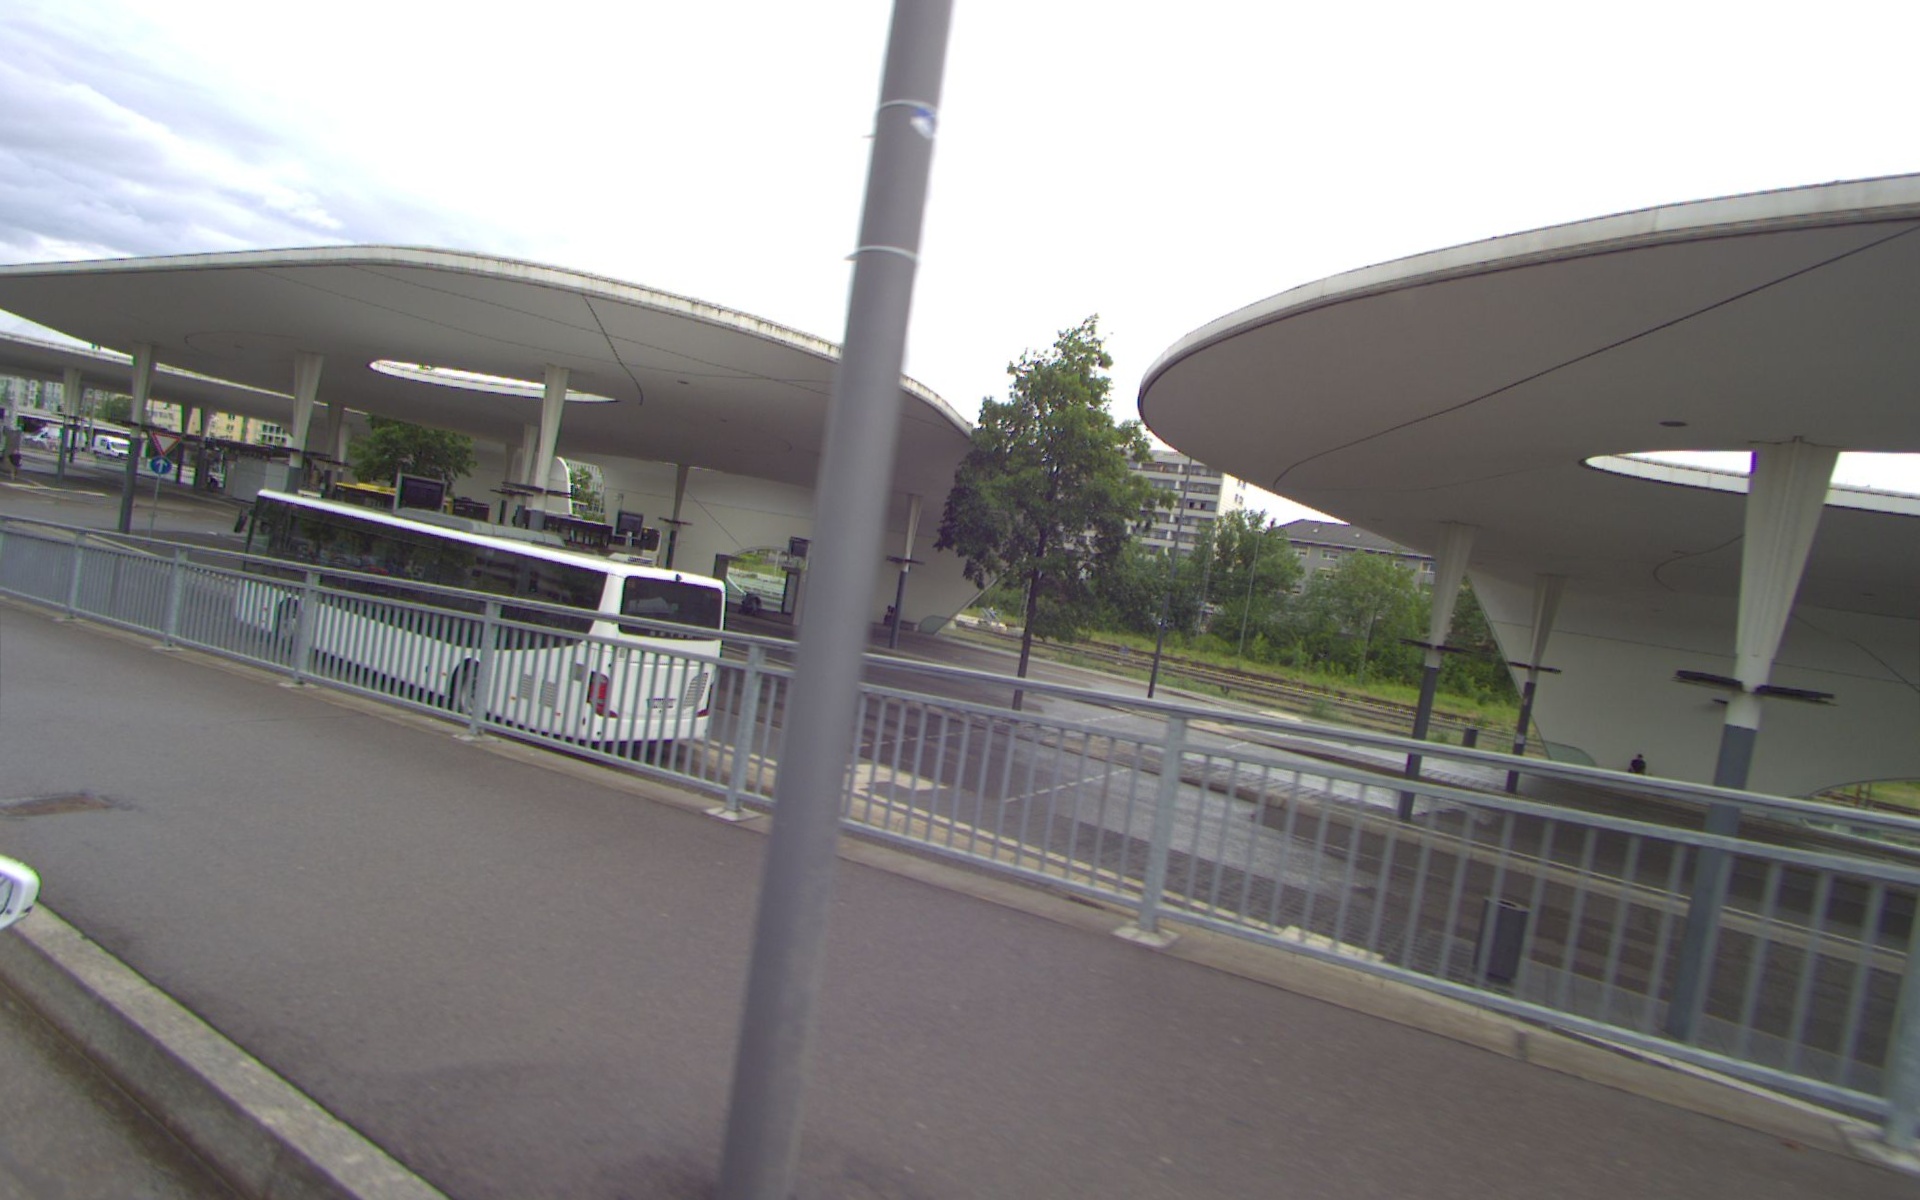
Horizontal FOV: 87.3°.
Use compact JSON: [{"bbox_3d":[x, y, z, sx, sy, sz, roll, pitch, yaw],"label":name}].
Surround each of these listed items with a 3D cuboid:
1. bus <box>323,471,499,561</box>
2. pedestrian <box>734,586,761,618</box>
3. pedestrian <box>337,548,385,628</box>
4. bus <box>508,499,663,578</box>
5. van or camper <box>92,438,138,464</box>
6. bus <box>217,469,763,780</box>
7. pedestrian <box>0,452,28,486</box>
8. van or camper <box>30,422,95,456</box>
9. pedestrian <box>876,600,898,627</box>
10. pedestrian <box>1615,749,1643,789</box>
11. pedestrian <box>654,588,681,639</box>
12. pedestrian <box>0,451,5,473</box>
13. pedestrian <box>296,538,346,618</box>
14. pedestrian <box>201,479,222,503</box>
[{"bbox_3d":[-31.147,-4.813,56.796,11.934,3.300,2.791,11,4,30],"label":"bus"},{"bbox_3d":[-9.685,0.085,45.839,0.790,1.340,0.709,6,-2,39],"label":"pedestrian"},{"bbox_3d":[-15.230,-0.314,25.576,0.637,1.929,0.585,9,3,-1],"label":"pedestrian"},{"bbox_3d":[-24.017,-3.994,64.040,11.770,3.302,2.466,11,5,32],"label":"bus"},{"bbox_3d":[-89.669,-15.827,106.702,5.388,2.128,1.997,8,-1,32],"label":"van or camper"},{"bbox_3d":[-9.480,0.095,19.123,12.217,3.401,2.851,11,0,32],"label":"bus"},{"bbox_3d":[-53.140,-7.343,56.434,1.002,1.707,0.718,8,5,6],"label":"pedestrian"},{"bbox_3d":[-96.242,-17.248,107.894,2.083,2.587,4.617,8,-1,31],"label":"van or camper"},{"bbox_3d":[-3.985,0.758,55.250,0.789,1.340,0.710,6,-2,35],"label":"pedestrian"},{"bbox_3d":[24.615,6.207,36.991,0.701,1.340,0.799,6,-2,37],"label":"pedestrian"},{"bbox_3d":[-10.148,0.460,34.955,0.629,1.677,0.641,7,4,-8],"label":"pedestrian"},{"bbox_3d":[-61.274,-8.817,63.860,0.789,1.396,0.626,5,5,-41],"label":"pedestrian"},{"bbox_3d":[-16.040,-0.553,25.268,0.638,1.910,0.585,10,2,-5],"label":"pedestrian"},{"bbox_3d":[-56.400,-8.220,75.781,0.892,1.605,0.796,9,1,26],"label":"pedestrian"}]
